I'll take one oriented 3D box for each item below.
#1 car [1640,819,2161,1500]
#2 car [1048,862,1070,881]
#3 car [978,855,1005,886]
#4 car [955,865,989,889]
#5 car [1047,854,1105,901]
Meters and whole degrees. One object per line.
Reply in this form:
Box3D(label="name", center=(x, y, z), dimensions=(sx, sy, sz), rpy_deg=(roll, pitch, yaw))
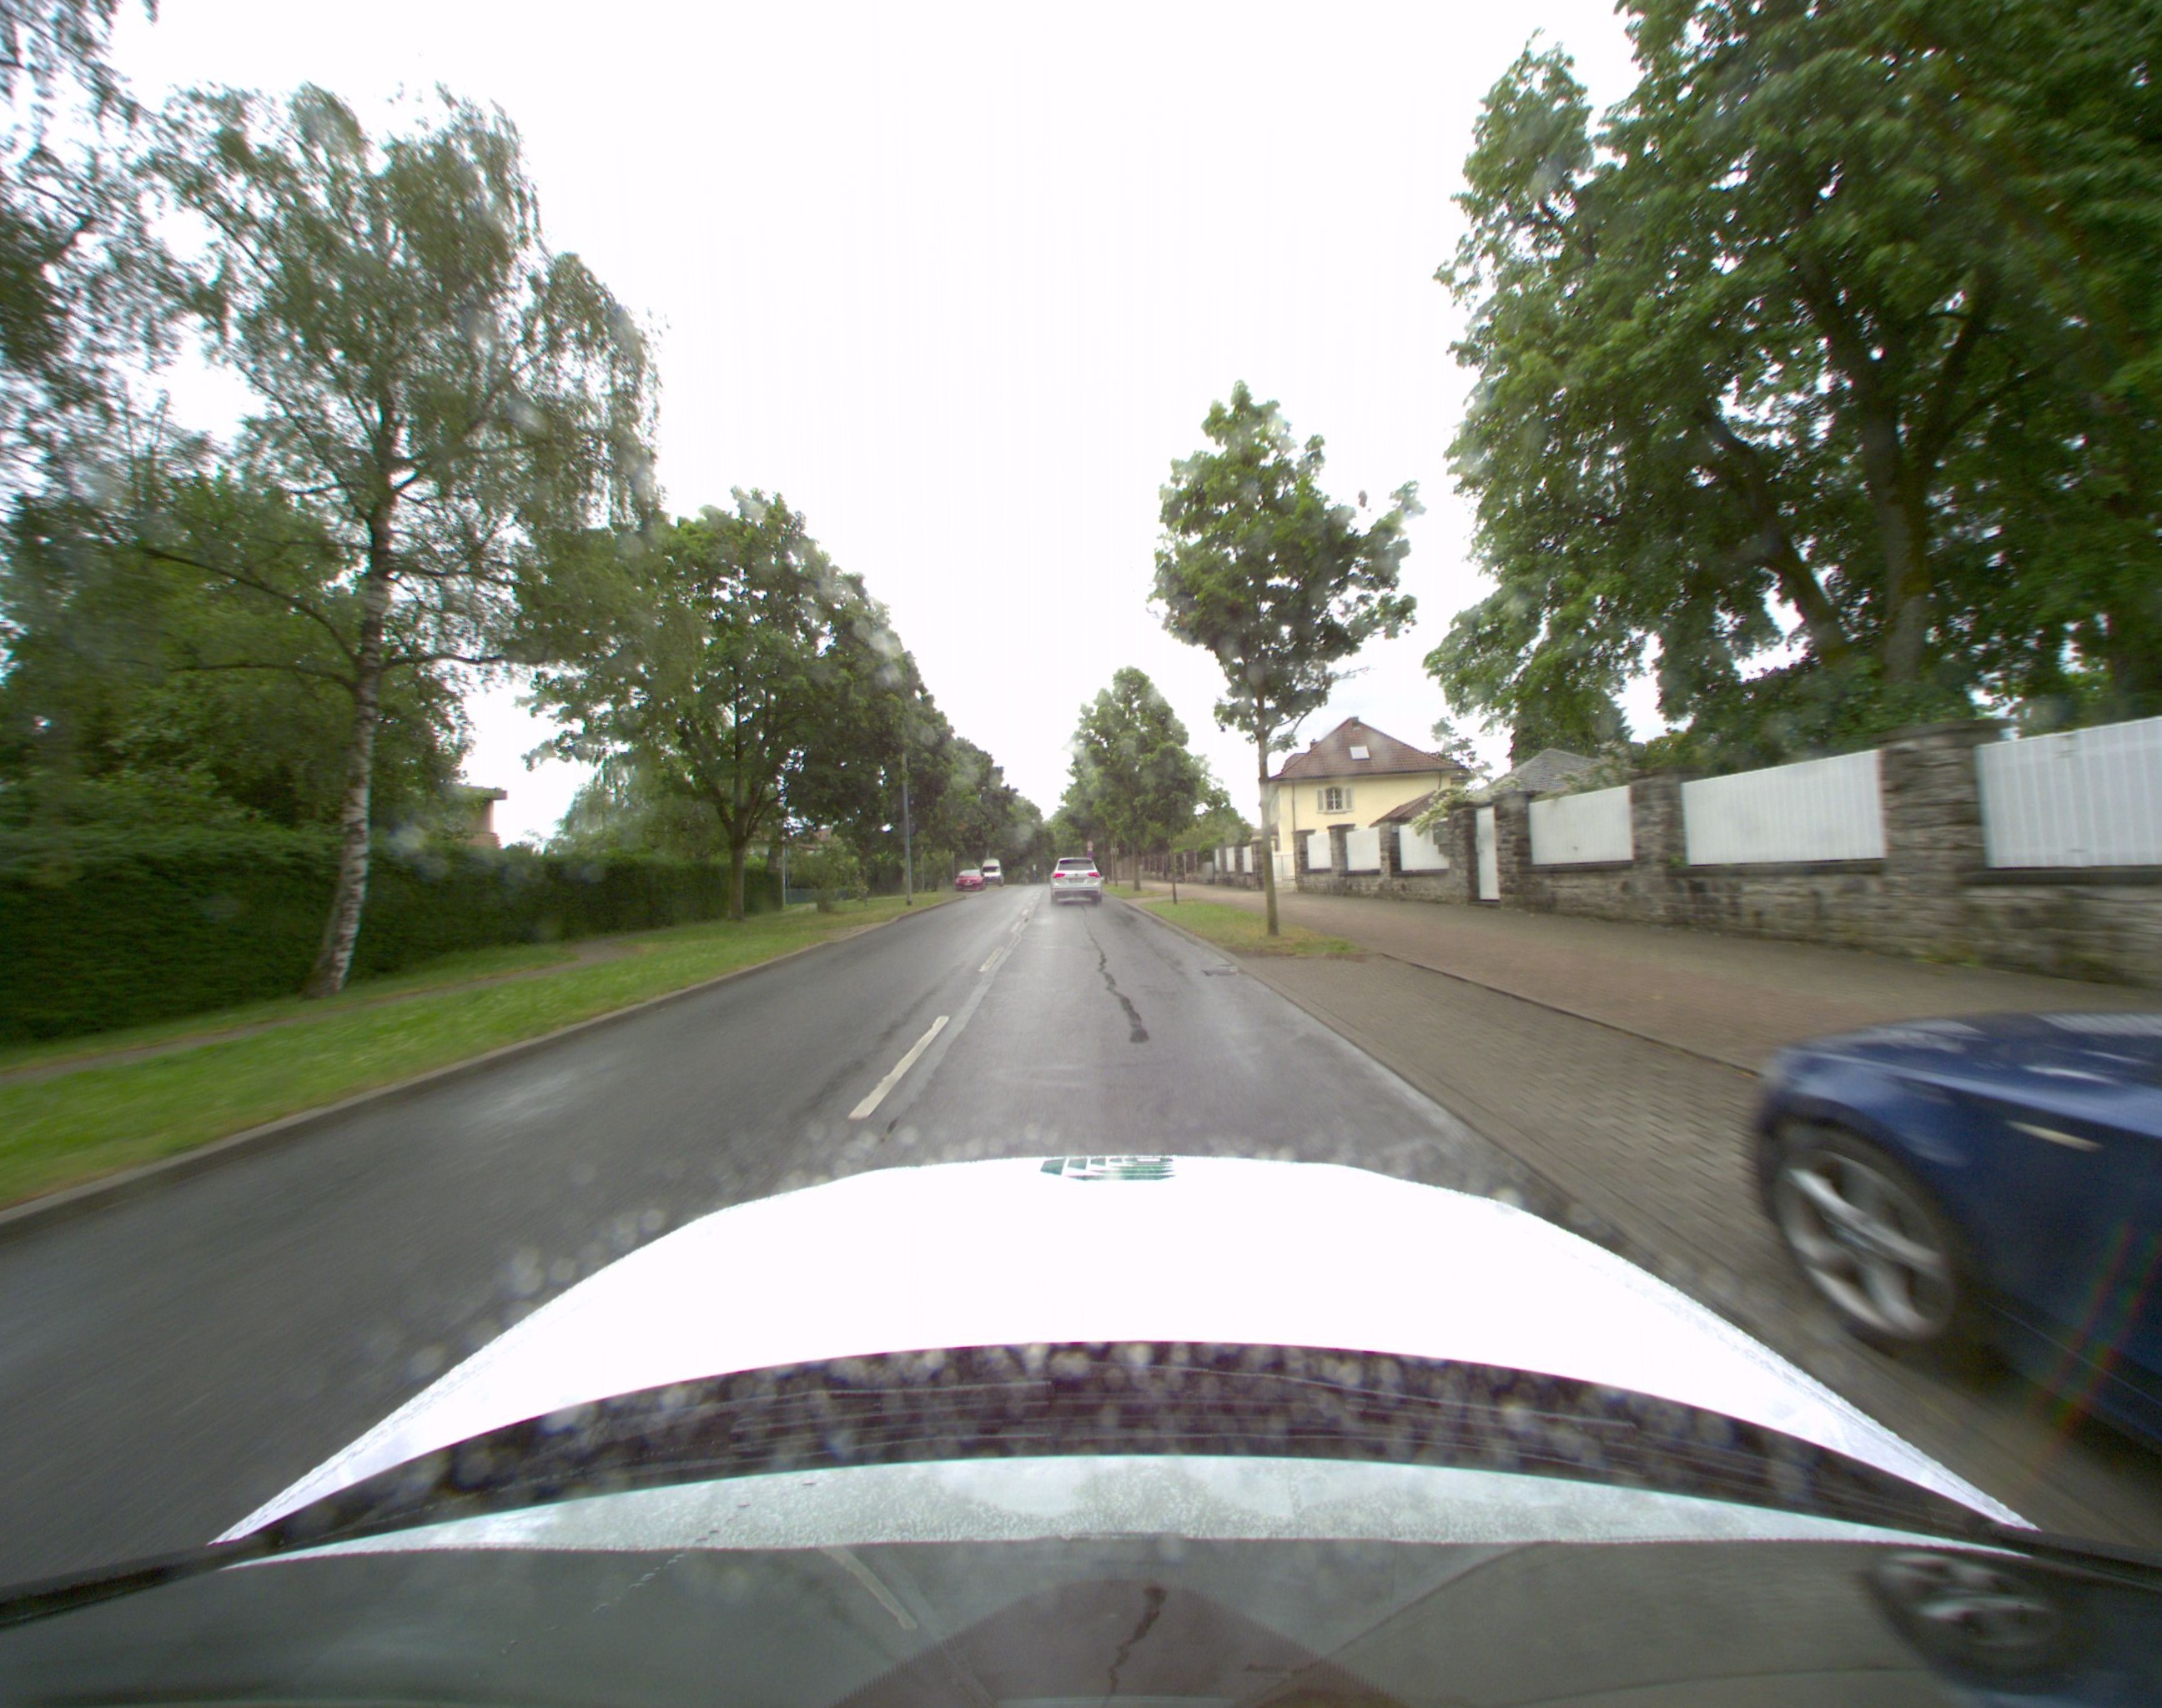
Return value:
Box3D(label="car", center=(3.046, 0.620, 1.330), dimensions=(1.635, 1.377, 3.830), rpy_deg=(-4, 0, 2))
Box3D(label="car", center=(-1.851, 1.492, 71.053), dimensions=(1.835, 1.487, 3.999), rpy_deg=(-1, 0, -1))
Box3D(label="car", center=(-7.973, 1.480, 72.901), dimensions=(1.989, 2.561, 5.226), rpy_deg=(-3, -1, -3))
Box3D(label="car", center=(-7.130, 1.474, 53.652), dimensions=(1.839, 1.466, 4.244), rpy_deg=(-2, -1, -3))
Box3D(label="car", center=(-0.211, 0.830, 30.248), dimensions=(1.991, 1.632, 3.998), rpy_deg=(0, 0, -1))
